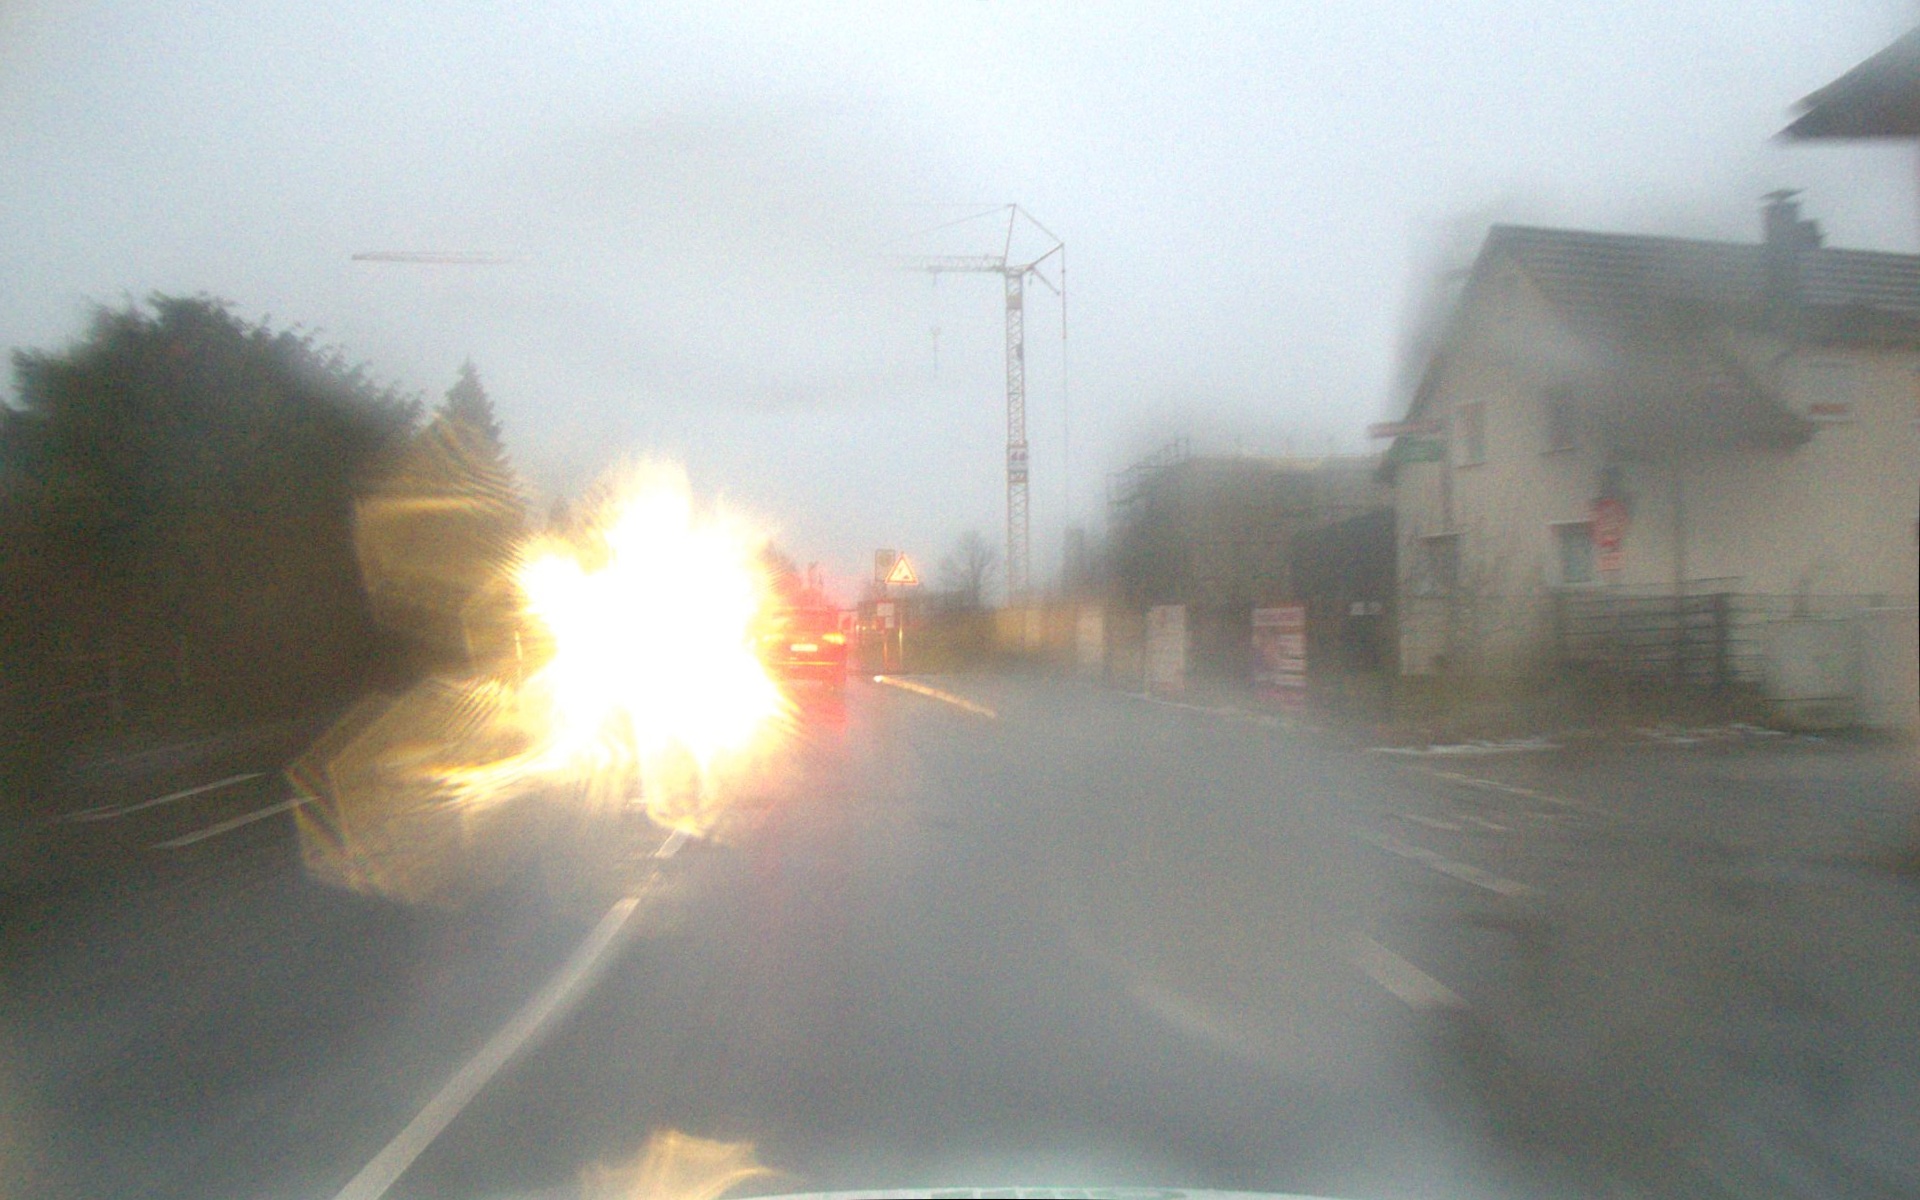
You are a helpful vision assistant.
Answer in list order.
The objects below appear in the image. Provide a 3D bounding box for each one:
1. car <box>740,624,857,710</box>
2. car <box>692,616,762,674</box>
[{"bbox_3d":[-3.418,1.354,34.163,2.010,1.600,4.690,-1,-1,-10],"label":"car"},{"bbox_3d":[-8.368,1.588,59.150,1.961,1.914,3.983,-2,0,-16],"label":"car"}]
